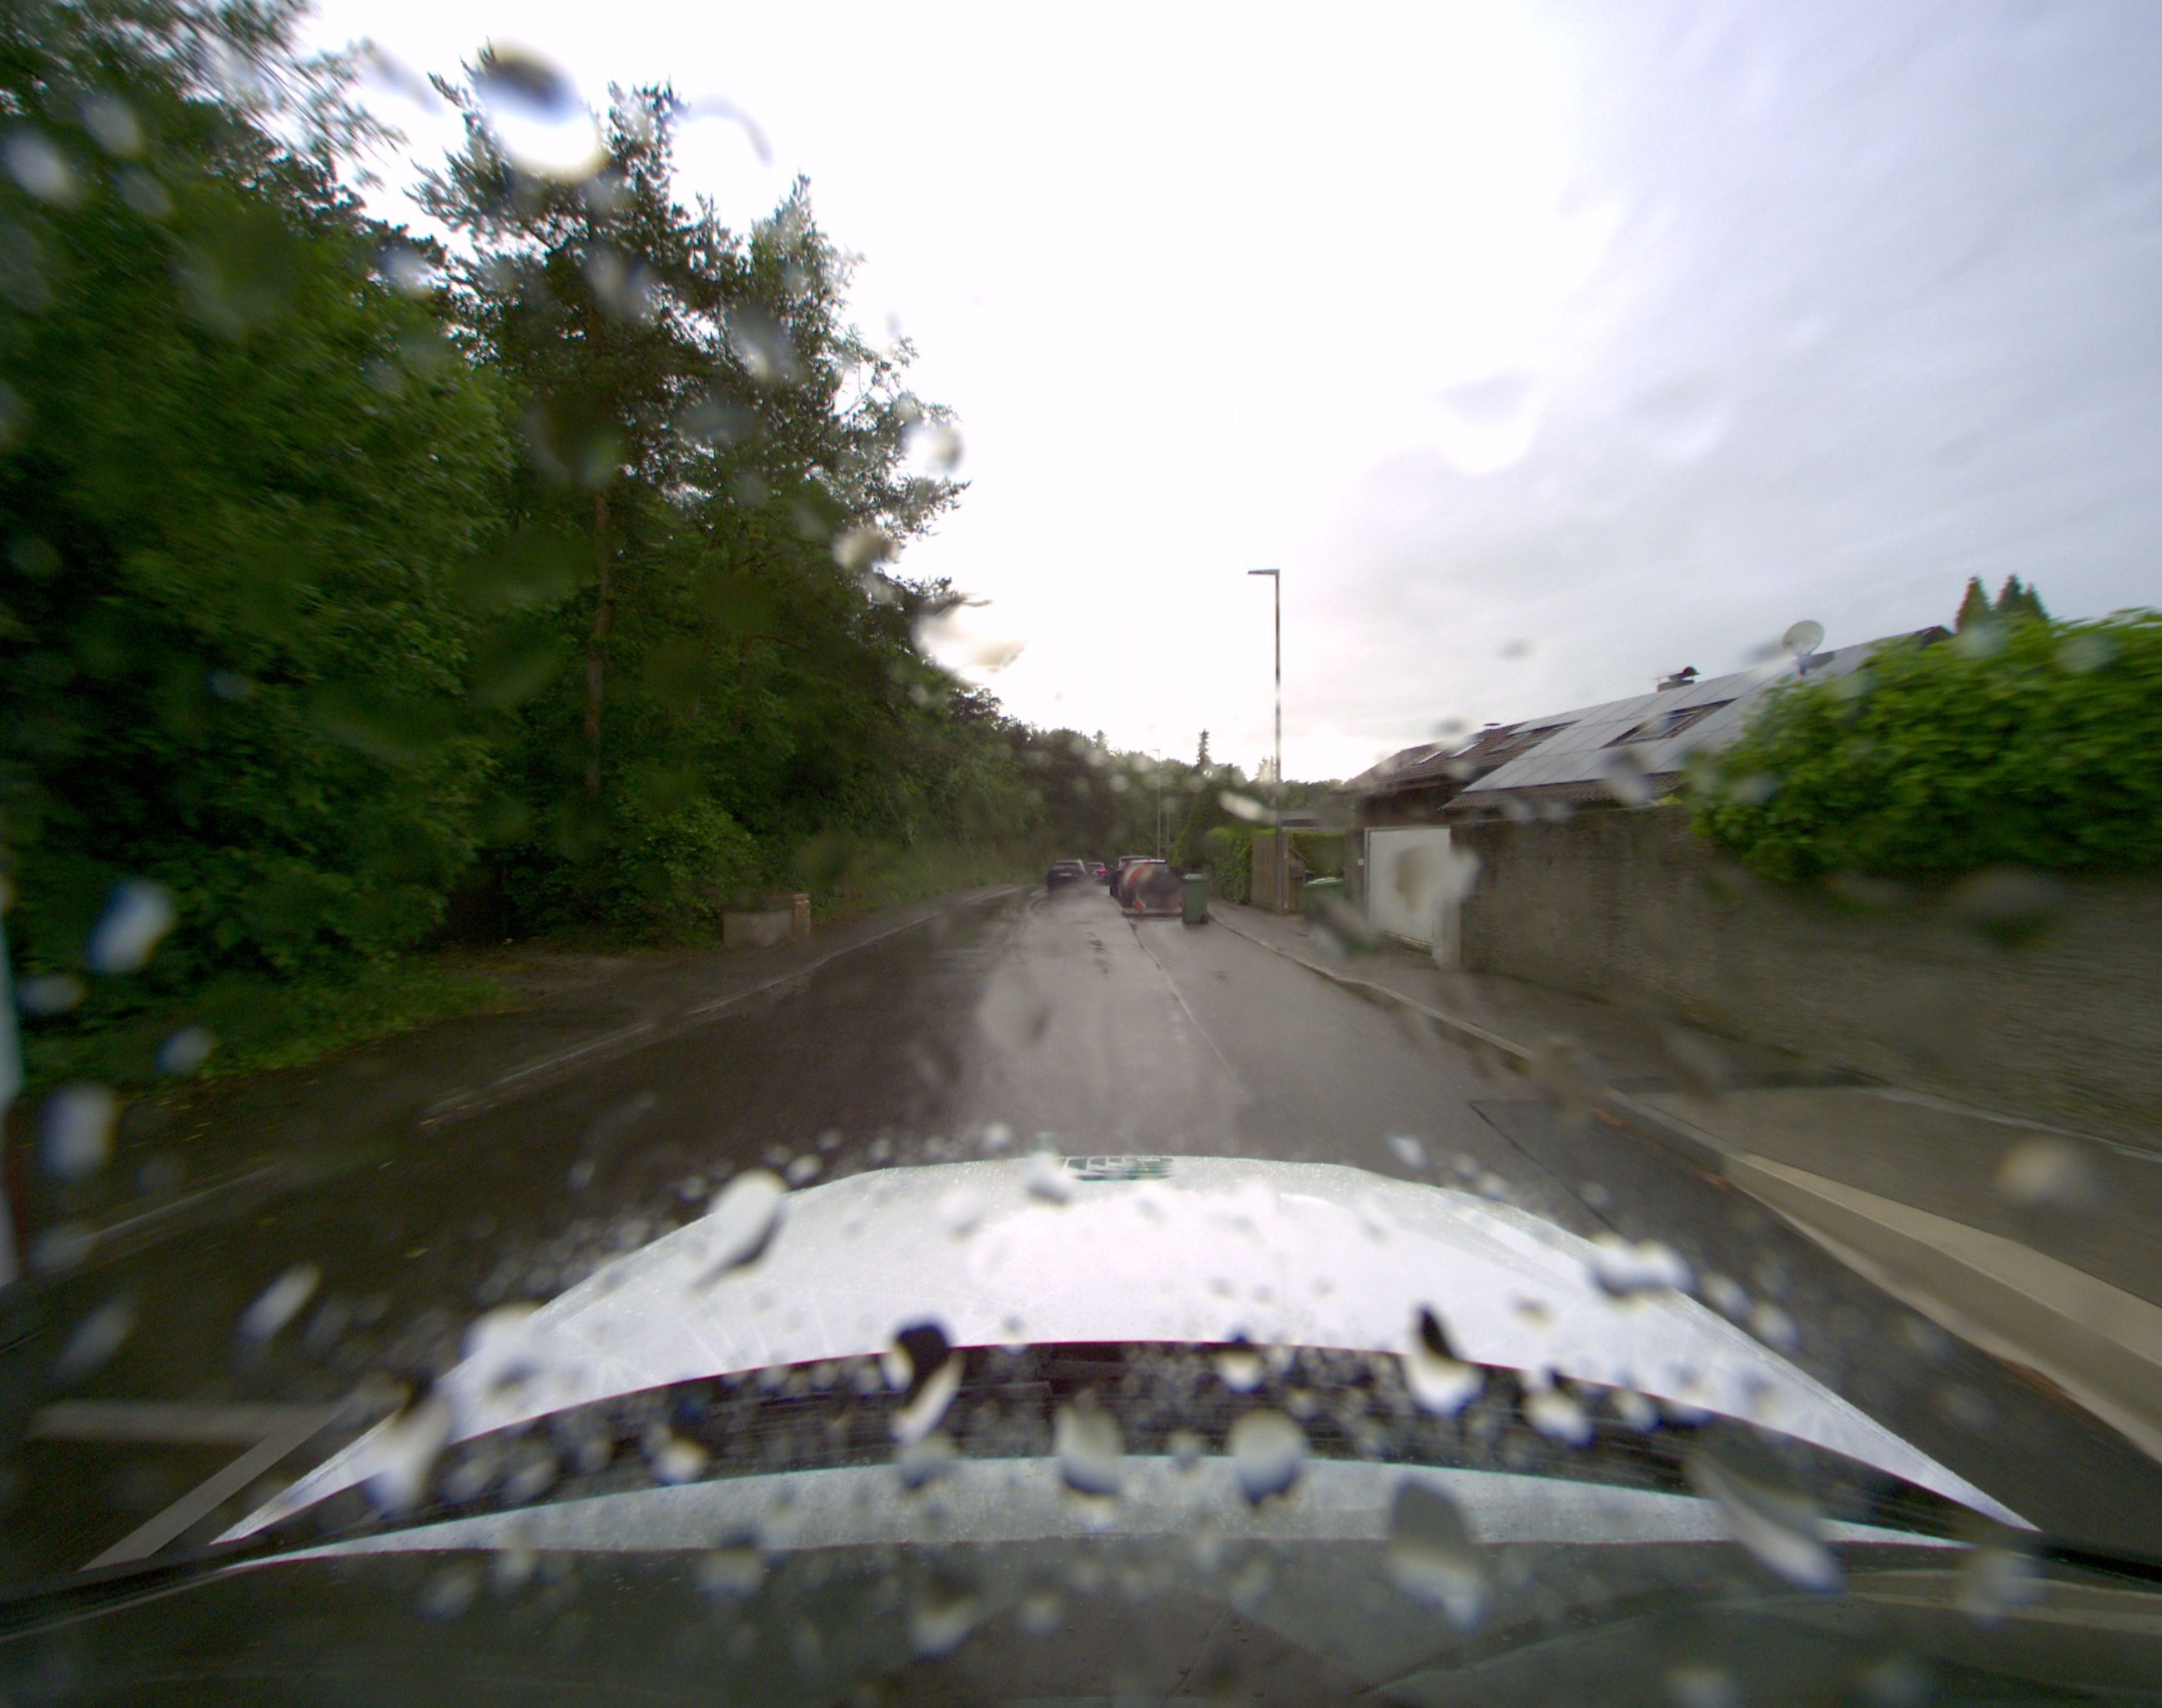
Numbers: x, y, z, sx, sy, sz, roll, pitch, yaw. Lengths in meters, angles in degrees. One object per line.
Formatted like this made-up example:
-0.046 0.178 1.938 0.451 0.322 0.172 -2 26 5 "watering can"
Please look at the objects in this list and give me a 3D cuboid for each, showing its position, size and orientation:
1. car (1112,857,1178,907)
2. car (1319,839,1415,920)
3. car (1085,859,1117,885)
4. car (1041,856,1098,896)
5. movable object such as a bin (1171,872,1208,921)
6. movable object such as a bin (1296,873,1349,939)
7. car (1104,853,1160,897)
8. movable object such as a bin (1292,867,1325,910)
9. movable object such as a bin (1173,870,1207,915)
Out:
1.984 0.846 26.352 1.750 1.462 4.300 1 0 0 "car"
7.184 0.622 20.500 1.977 1.720 4.430 3 -1 19 "car"
1.380 1.183 53.958 1.986 1.605 4.412 1 0 2 "car"
-0.426 1.021 35.845 1.858 1.513 4.100 1 -4 8 "car"
2.511 0.971 18.846 0.714 1.095 0.655 1 0 -5 "movable object such as a bin"
4.211 0.896 14.230 0.736 1.088 0.600 -2 0 2 "movable object such as a bin"
1.916 0.779 31.780 1.869 1.592 4.478 0 0 0 "car"
6.083 0.909 21.741 0.742 1.104 0.823 3 -1 19 "movable object such as a bin"
2.675 0.937 19.996 0.727 1.078 0.660 1 0 -2 "movable object such as a bin"
